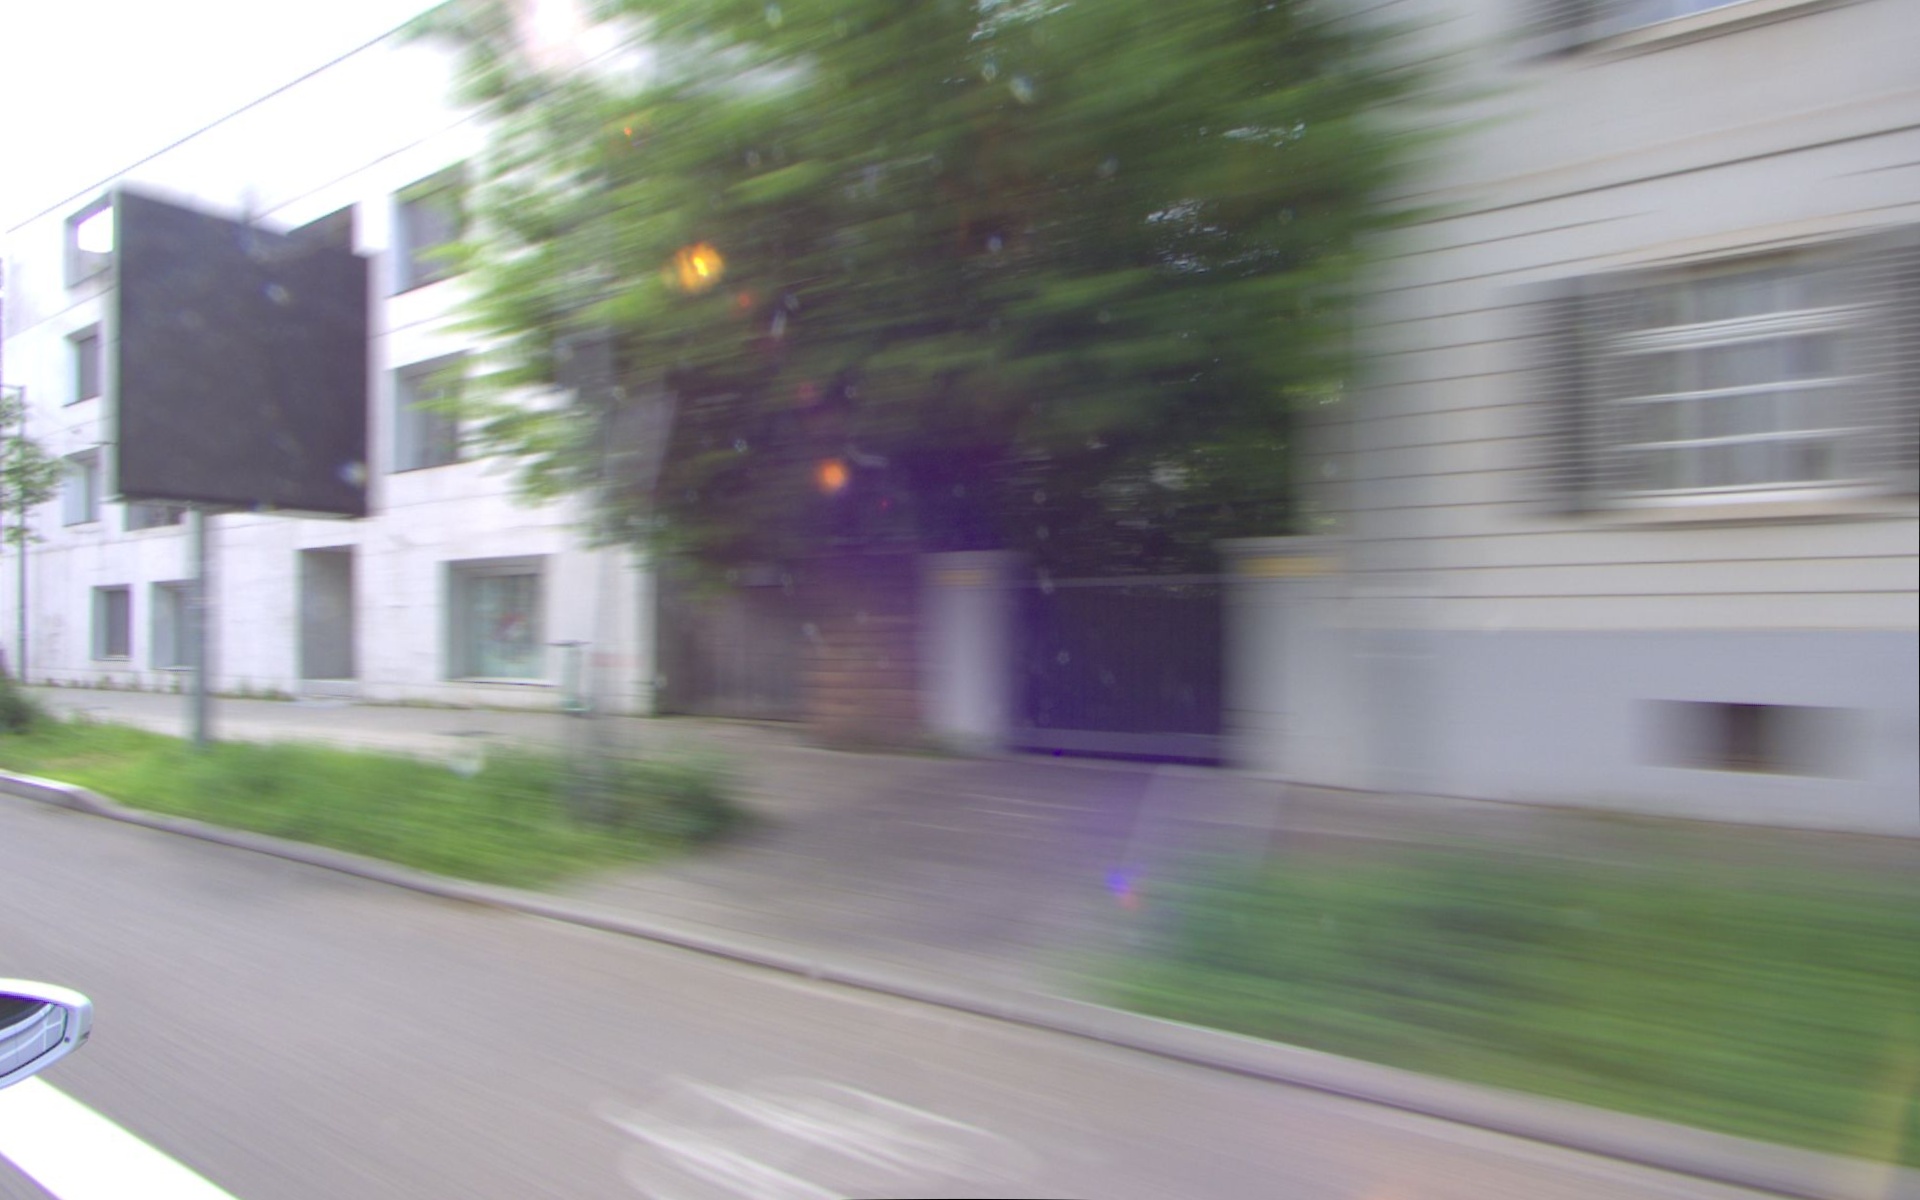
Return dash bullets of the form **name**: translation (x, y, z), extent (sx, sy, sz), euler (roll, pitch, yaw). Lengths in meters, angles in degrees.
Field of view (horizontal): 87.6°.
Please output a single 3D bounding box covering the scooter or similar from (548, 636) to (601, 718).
- **scooter or similar**: translation (-5.897, 1.154, 15.288), extent (0.320, 1.196, 1.136), euler (1, -1, -45)
